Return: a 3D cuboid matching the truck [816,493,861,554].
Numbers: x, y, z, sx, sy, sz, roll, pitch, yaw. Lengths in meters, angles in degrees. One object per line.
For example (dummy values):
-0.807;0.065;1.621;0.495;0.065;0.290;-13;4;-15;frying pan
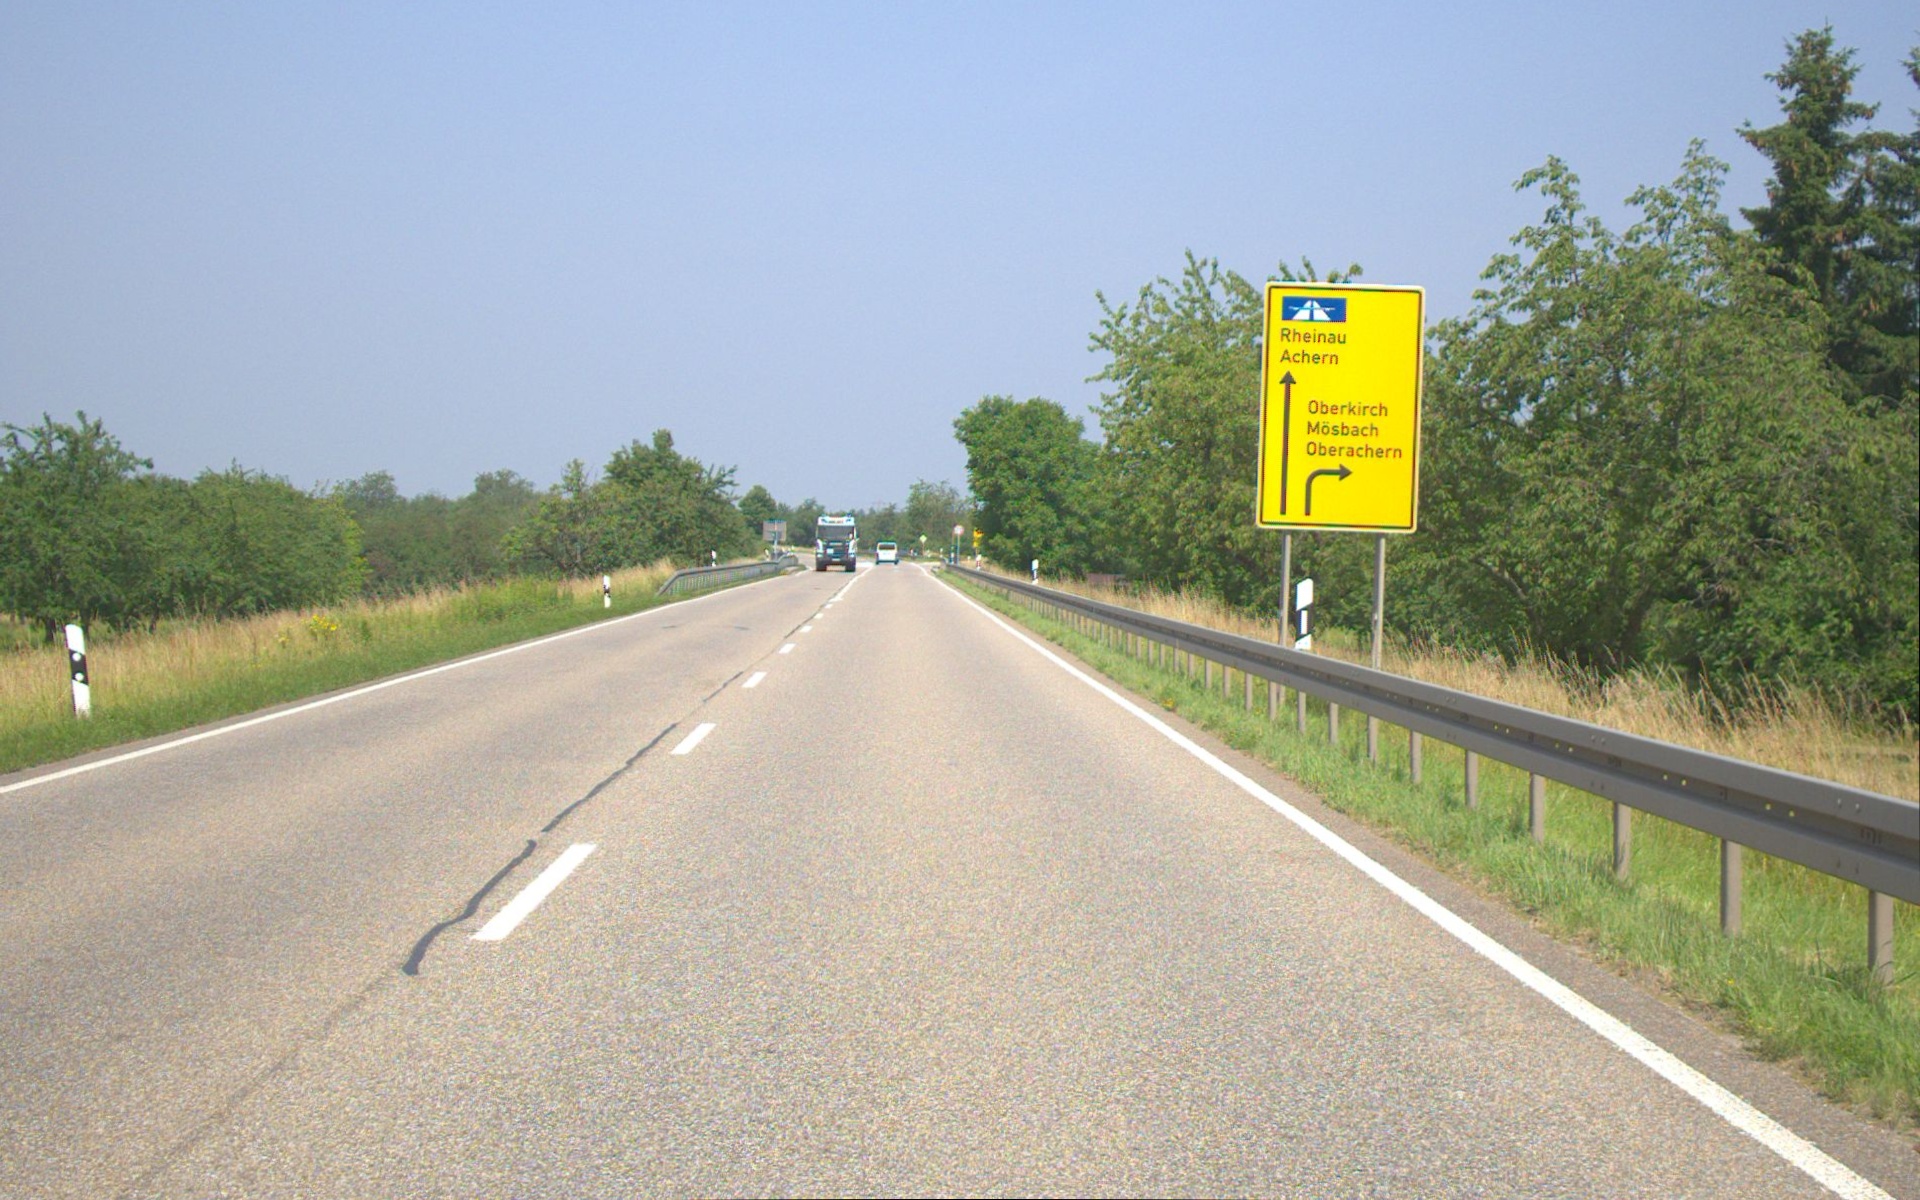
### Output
-7.730;-4.828;219.045;2.728;3.659;9.384;1;0;-1;truck
